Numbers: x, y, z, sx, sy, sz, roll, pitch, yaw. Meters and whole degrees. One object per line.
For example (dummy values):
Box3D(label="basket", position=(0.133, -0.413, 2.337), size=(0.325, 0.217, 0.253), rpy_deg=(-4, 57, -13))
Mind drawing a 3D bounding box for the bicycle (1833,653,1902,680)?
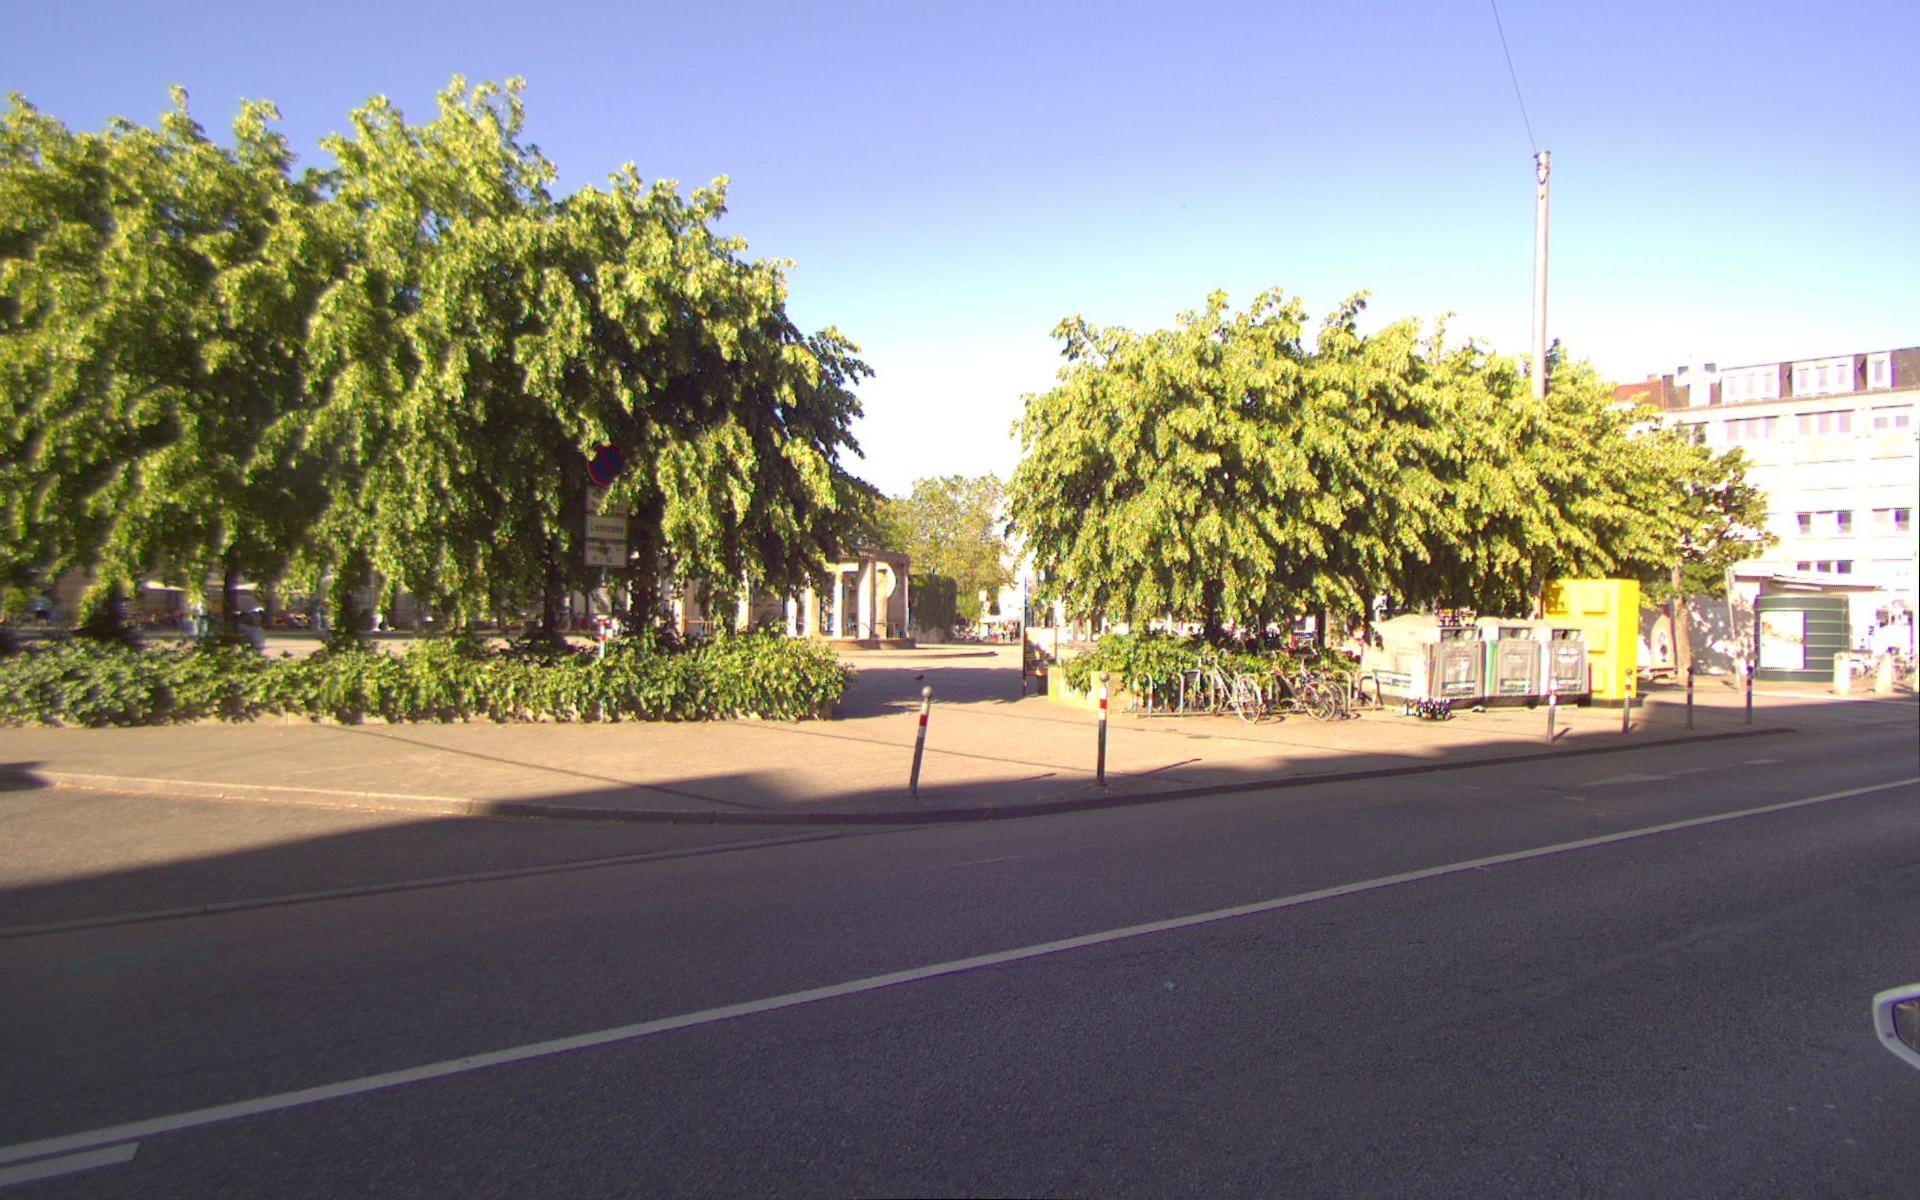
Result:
Box3D(label="bicycle", position=(30.825, 2.246, 34.122), size=(0.600, 0.802, 1.634), rpy_deg=(2, 0, -33))

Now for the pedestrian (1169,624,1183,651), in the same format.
Box3D(label="pedestrian", position=(14.227, 2.438, 66.170), size=(0.741, 1.740, 0.854), rpy_deg=(1, -1, 4))

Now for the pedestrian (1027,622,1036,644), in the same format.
Box3D(label="pedestrian", position=(6.408, 2.954, 90.358), size=(0.628, 1.974, 0.676), rpy_deg=(2, 0, -7))

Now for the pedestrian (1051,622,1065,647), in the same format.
Box3D(label="pedestrian", position=(8.387, 2.934, 86.058), size=(1.014, 2.040, 1.159), rpy_deg=(2, 0, -5))

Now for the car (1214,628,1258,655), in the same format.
Box3D(label="car", position=(15.264, 2.285, 55.666), size=(1.658, 1.405, 3.575), rpy_deg=(1, -1, 5))

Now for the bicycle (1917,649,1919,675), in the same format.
Box3D(label="bicycle", position=(37.022, 2.368, 37.442), size=(0.599, 0.946, 1.854), rpy_deg=(2, 0, -30))

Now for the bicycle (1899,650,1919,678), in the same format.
Box3D(label="bicycle", position=(35.017, 2.331, 36.019), size=(0.599, 0.946, 1.854), rpy_deg=(2, 0, -30))

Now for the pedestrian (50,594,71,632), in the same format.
Box3D(label="pedestrian", position=(-41.310, 0.592, 46.134), size=(0.600, 1.744, 0.643), rpy_deg=(2, 0, 45))

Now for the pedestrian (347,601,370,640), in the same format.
Box3D(label="pedestrian", position=(-26.855, 0.918, 44.824), size=(0.598, 1.744, 0.645), rpy_deg=(2, 0, 32))

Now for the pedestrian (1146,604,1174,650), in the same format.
Box3D(label="pedestrian", position=(9.022, 1.196, 45.356), size=(0.875, 2.040, 0.896), rpy_deg=(1, 0, -17))

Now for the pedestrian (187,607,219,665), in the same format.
Box3D(label="pedestrian", position=(-23.093, 1.083, 30.638), size=(0.599, 1.744, 0.644), rpy_deg=(2, 0, 41))

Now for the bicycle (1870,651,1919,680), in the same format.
Box3D(label="bicycle", position=(33.171, 2.284, 35.146), size=(0.599, 0.946, 1.855), rpy_deg=(1, -1, -30))

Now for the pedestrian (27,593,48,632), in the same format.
Box3D(label="pedestrian", position=(-42.699, 0.579, 46.483), size=(0.600, 1.744, 0.643), rpy_deg=(2, 0, 45))

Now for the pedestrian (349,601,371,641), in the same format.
Box3D(label="pedestrian", position=(-26.740, 0.921, 44.761), size=(0.599, 1.744, 0.644), rpy_deg=(2, 0, 37))

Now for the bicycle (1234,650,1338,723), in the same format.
Box3D(label="bicycle", position=(5.247, 1.370, 16.304), size=(0.508, 1.016, 1.923), rpy_deg=(2, 0, -20))

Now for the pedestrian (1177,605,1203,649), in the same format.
Box3D(label="pedestrian", position=(11.053, 1.291, 48.203), size=(0.875, 2.040, 0.896), rpy_deg=(1, 0, -17))

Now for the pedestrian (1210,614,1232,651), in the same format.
Box3D(label="pedestrian", position=(12.356, 1.517, 47.560), size=(0.774, 1.720, 0.763), rpy_deg=(1, 0, -6))

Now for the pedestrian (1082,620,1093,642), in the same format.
Box3D(label="pedestrian", position=(12.653, 3.065, 99.716), size=(0.860, 2.199, 0.902), rpy_deg=(2, 0, -5))

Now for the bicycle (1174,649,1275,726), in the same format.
Box3D(label="bicycle", position=(4.076, 1.329, 15.649), size=(0.508, 1.029, 1.930), rpy_deg=(2, 0, -19))

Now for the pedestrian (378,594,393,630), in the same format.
Box3D(label="pedestrian", position=(-31.611, 0.675, 55.242), size=(0.669, 1.974, 0.634), rpy_deg=(2, 0, -33))

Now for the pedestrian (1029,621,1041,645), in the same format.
Box3D(label="pedestrian", position=(6.589, 2.888, 88.345), size=(0.860, 2.040, 0.902), rpy_deg=(2, 0, -5))

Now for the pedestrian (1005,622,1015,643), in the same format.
Box3D(label="pedestrian", position=(4.430, 2.894, 89.110), size=(0.718, 1.862, 0.697), rpy_deg=(2, 0, -5))

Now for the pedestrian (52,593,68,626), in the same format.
Box3D(label="pedestrian", position=(-42.173, 0.438, 47.080), size=(0.536, 1.521, 0.546), rpy_deg=(2, 0, -42))

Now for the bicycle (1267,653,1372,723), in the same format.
Box3D(label="bicycle", position=(5.832, 1.404, 16.410), size=(0.508, 0.968, 1.898), rpy_deg=(2, 0, -20))
